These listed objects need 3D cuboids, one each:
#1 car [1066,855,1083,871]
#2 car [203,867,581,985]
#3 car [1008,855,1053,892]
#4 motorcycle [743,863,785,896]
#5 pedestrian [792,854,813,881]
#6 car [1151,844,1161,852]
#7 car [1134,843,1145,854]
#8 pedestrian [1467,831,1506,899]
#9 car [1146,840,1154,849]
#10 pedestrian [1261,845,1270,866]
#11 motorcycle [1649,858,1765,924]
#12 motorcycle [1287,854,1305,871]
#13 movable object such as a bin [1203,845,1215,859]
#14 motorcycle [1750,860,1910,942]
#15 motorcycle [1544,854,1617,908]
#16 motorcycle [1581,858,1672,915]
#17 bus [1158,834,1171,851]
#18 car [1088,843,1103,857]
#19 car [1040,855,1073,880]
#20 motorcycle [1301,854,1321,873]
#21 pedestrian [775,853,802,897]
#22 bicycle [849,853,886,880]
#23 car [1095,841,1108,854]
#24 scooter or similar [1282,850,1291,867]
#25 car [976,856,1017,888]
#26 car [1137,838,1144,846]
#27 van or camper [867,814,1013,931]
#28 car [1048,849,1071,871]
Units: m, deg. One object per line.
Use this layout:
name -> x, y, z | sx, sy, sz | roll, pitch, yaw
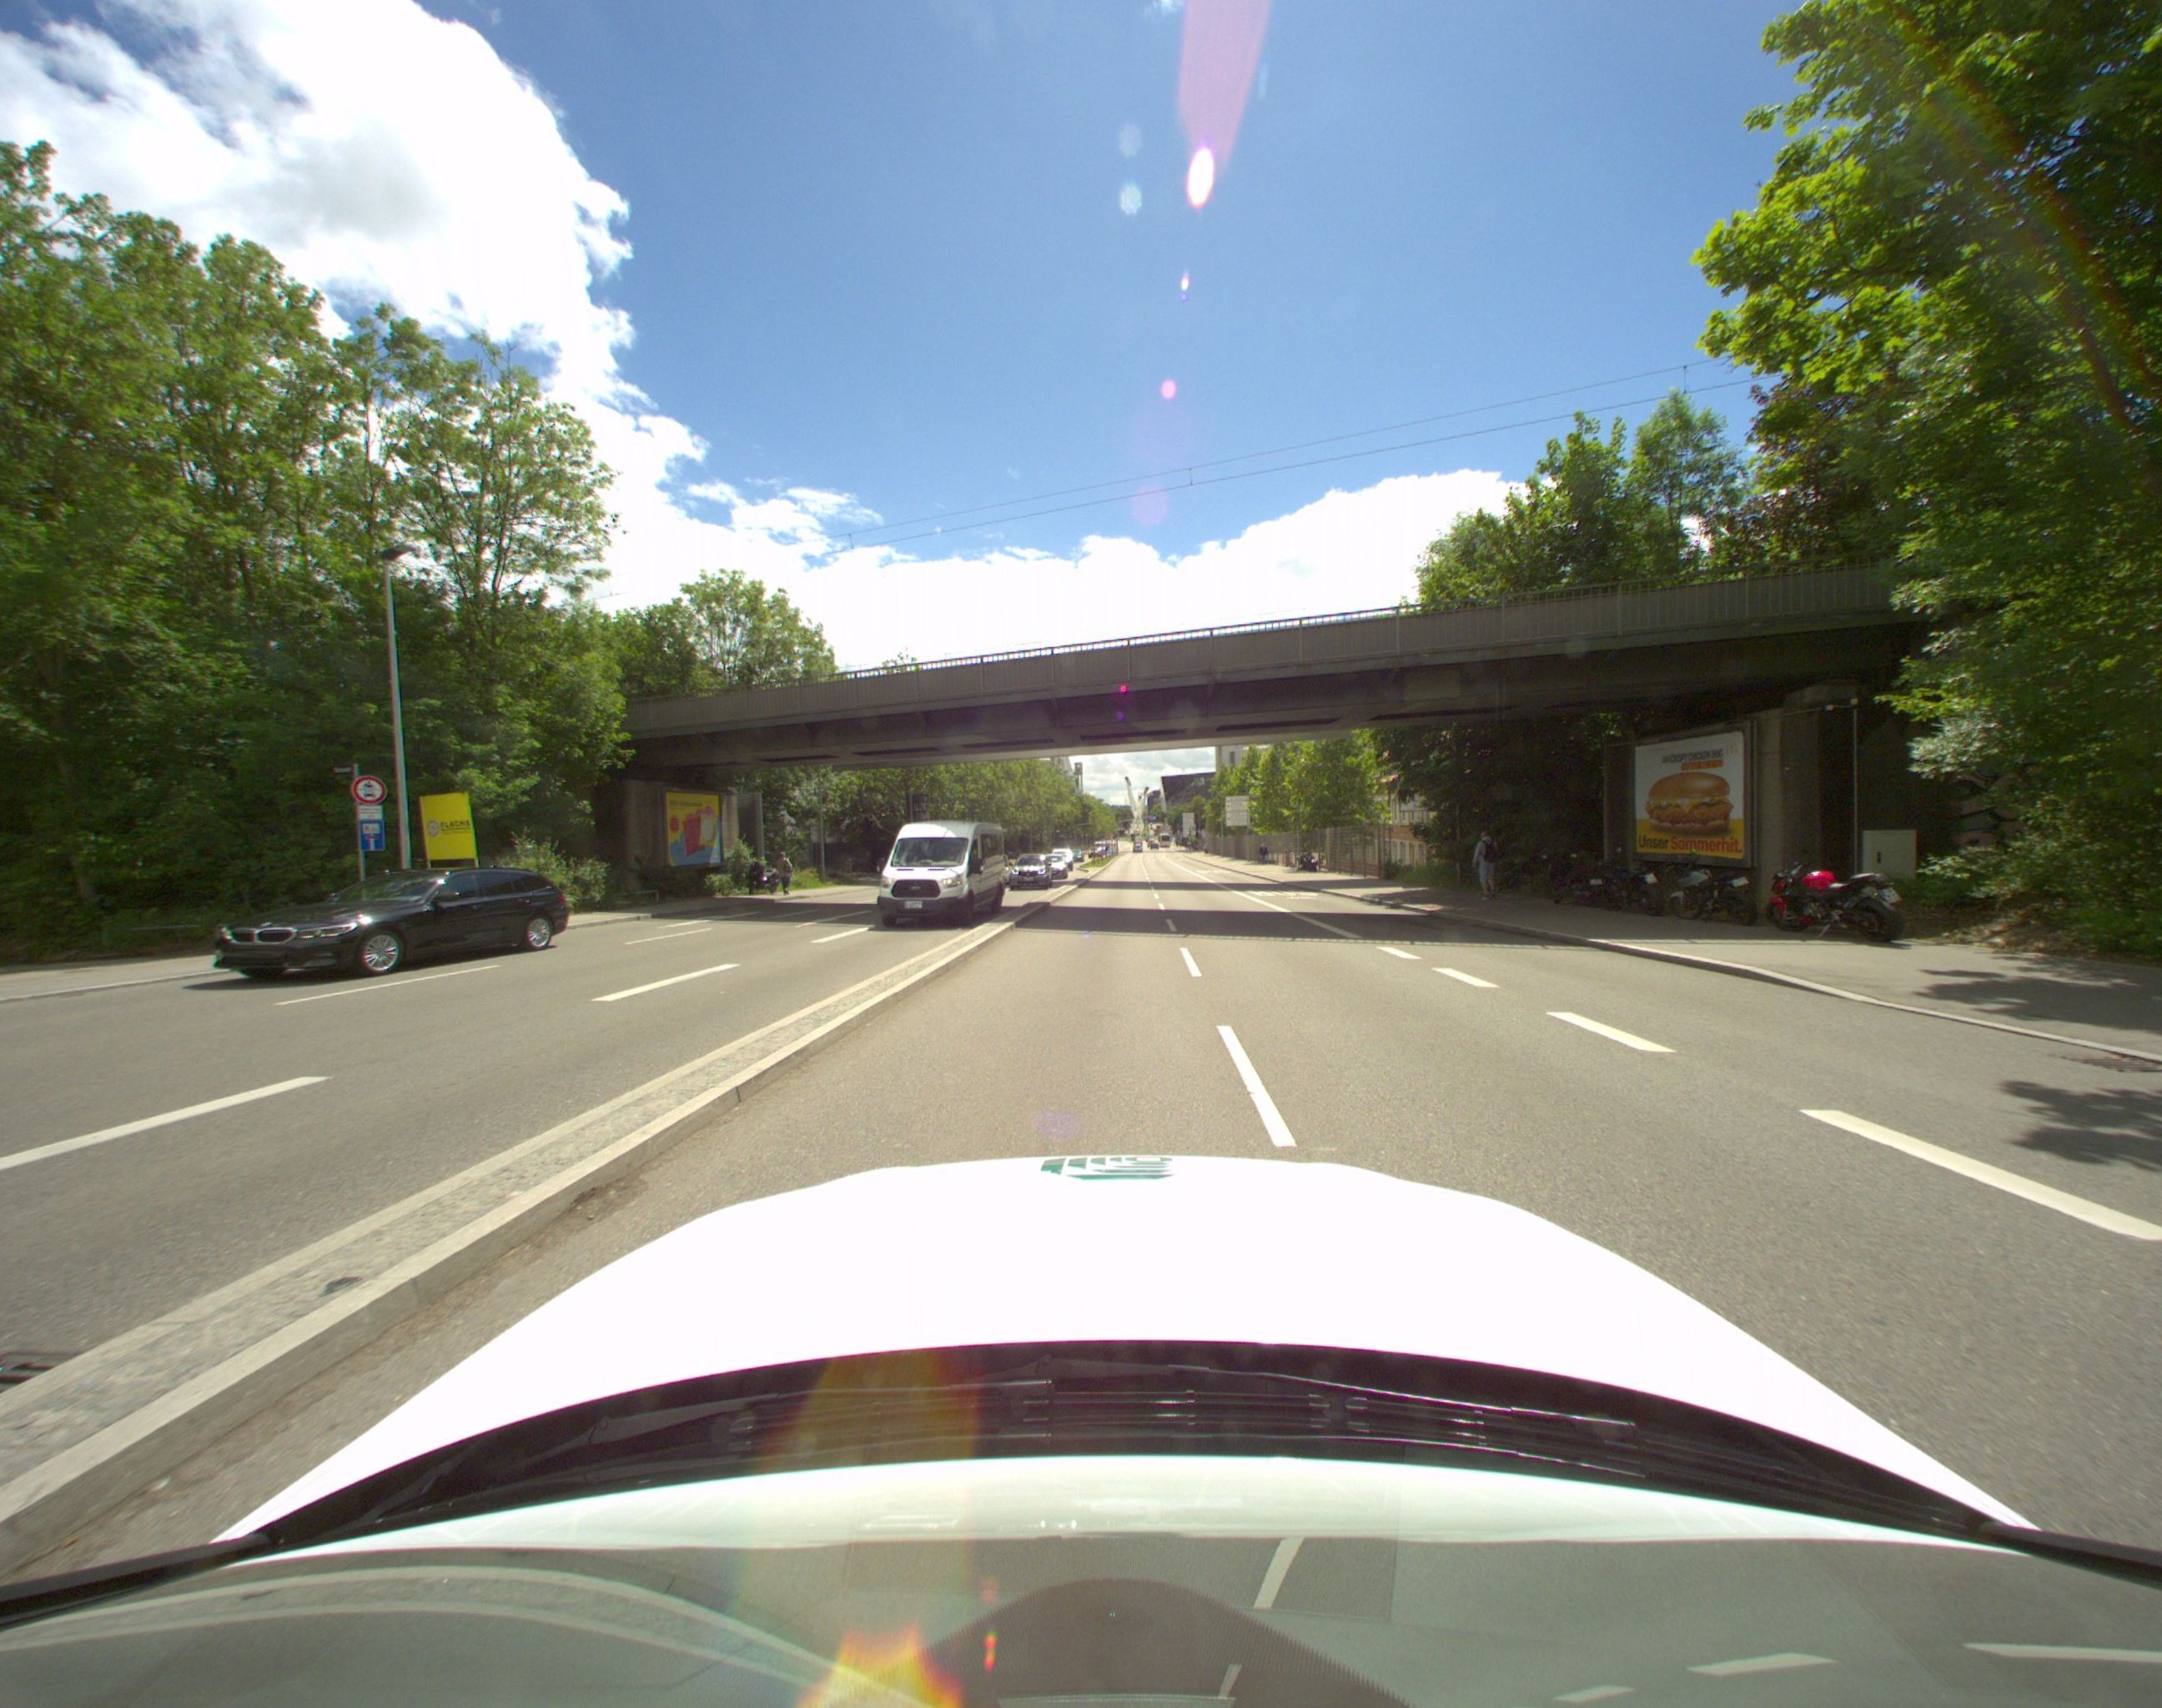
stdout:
car -> -0.685, 1.006, 93.094 | 1.694, 1.698, 3.926 | -1, 0, 2
car -> -10.159, 0.954, 12.612 | 1.722, 1.456, 4.563 | -1, -1, 4
car -> -2.190, 0.828, 36.097 | 1.694, 1.521, 3.075 | -1, 0, 1
motorcycle -> -12.121, 0.990, 31.193 | 0.684, 1.210, 2.074 | 0, -2, 3
pedestrian -> -21.085, 1.039, 61.596 | 1.003, 2.014, 1.170 | -1, 0, 11
car -> 16.864, -1.345, 183.142 | 1.985, 1.860, 4.003 | -2, 0, 3
car -> 10.903, -1.000, 151.927 | 1.921, 1.771, 4.007 | -1, 4, 4
pedestrian -> 11.433, 0.319, 22.998 | 0.620, 1.858, 0.872 | -2, -1, 2
car -> 17.563, -2.314, 206.604 | 1.985, 2.013, 4.006 | -1, 4, 4
pedestrian -> 15.146, 0.127, 66.793 | 0.618, 1.618, 0.747 | -2, 4, 2
motorcycle -> 11.314, 0.638, 14.819 | 0.545, 1.110, 2.018 | -2, -1, 0
motorcycle -> 13.834, 0.553, 52.538 | 0.561, 1.029, 2.631 | -3, 1, 3
movable object such as a bin -> 19.317, -0.266, 123.021 | 1.655, 2.132, 1.281 | -1, 0, 8
motorcycle -> 11.204, 0.662, 12.293 | 0.545, 1.110, 2.018 | -2, -1, 0
motorcycle -> 11.794, 0.620, 19.301 | 0.545, 1.198, 1.903 | -2, -1, 0
motorcycle -> 11.452, 0.661, 17.184 | 0.545, 1.110, 2.018 | -2, -1, 0
bus -> 21.038, -2.928, 205.563 | 2.785, 3.751, 9.479 | -2, 4, 3
car -> 2.208, -0.559, 122.367 | 1.985, 2.013, 4.004 | -2, 0, 4
car -> -1.445, 0.774, 49.169 | 1.694, 1.436, 3.926 | -1, 0, 2
motorcycle -> 13.868, 0.555, 49.188 | 0.561, 1.029, 2.631 | -3, 1, 3
pedestrian -> -11.330, 0.800, 31.533 | 0.721, 1.622, 0.721 | 3, 3, 2
bicycle -> -17.347, 1.002, 66.281 | 2.750, 2.013, 1.036 | -3, 4, -21
car -> 3.502, -1.101, 140.004 | 1.984, 2.255, 4.331 | -1, 0, 4
scooter or similar -> 14.974, 0.320, 59.350 | 0.367, 1.177, 1.134 | -1, 0, 3
car -> -4.369, 0.915, 42.585 | 1.695, 1.551, 3.924 | -1, 0, 0
car -> 16.512, -3.389, 227.109 | 1.866, 2.013, 3.697 | -2, 4, 3
van or camper -> -3.235, 0.392, 20.313 | 1.999, 2.401, 6.406 | -1, 0, 4
car -> -1.685, 0.436, 65.943 | 1.695, 1.698, 3.924 | -1, 0, 0
